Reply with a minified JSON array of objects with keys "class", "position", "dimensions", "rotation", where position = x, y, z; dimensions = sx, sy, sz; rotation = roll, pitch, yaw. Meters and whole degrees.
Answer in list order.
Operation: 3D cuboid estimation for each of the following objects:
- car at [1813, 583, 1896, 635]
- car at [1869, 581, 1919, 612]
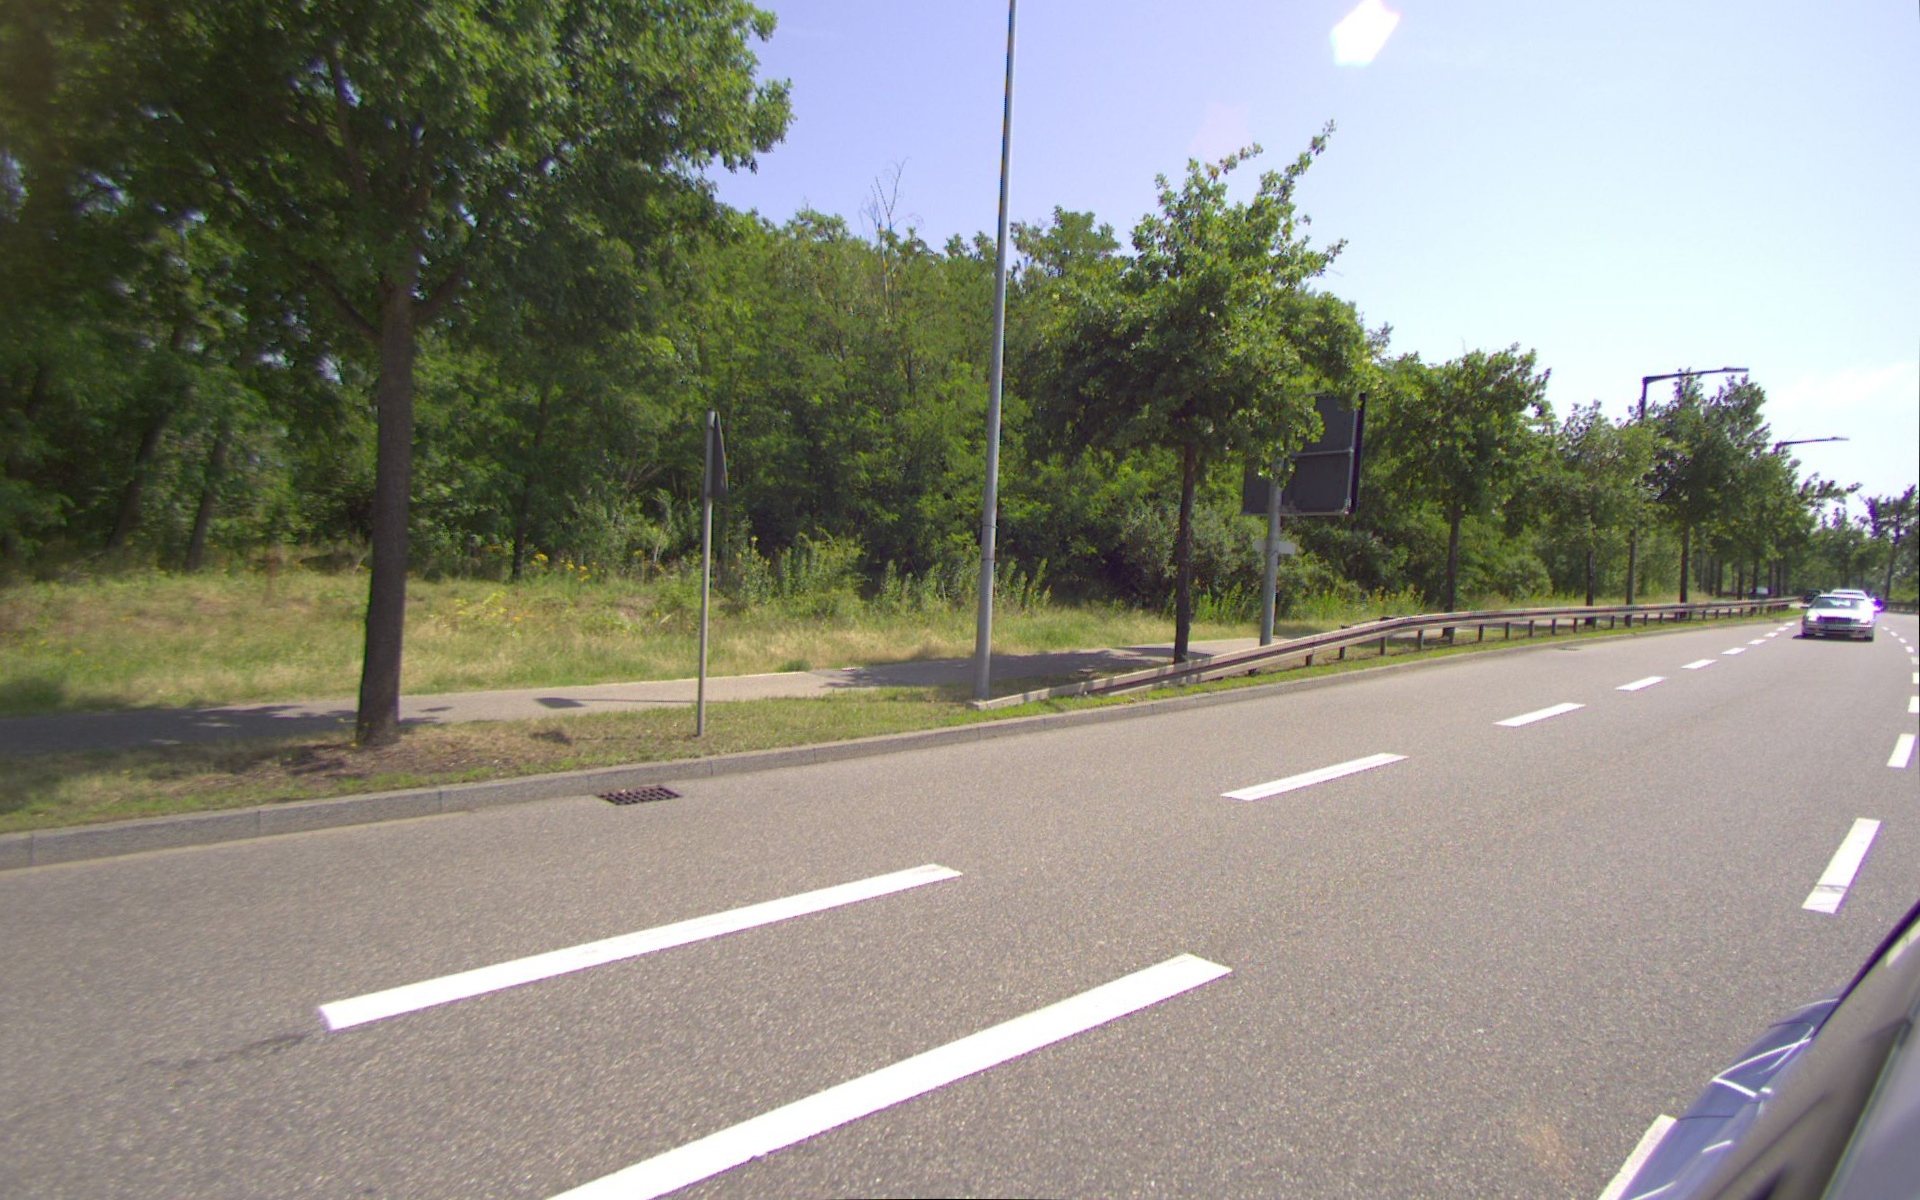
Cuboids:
[{"class":"car","position":[28.412,0.250,32.107],"dimensions":[1.759,1.518,4.165],"rotation":[2,1,44]},{"class":"car","position":[45.009,-0.151,48.460],"dimensions":[1.991,1.387,4.173],"rotation":[2,1,39]}]
